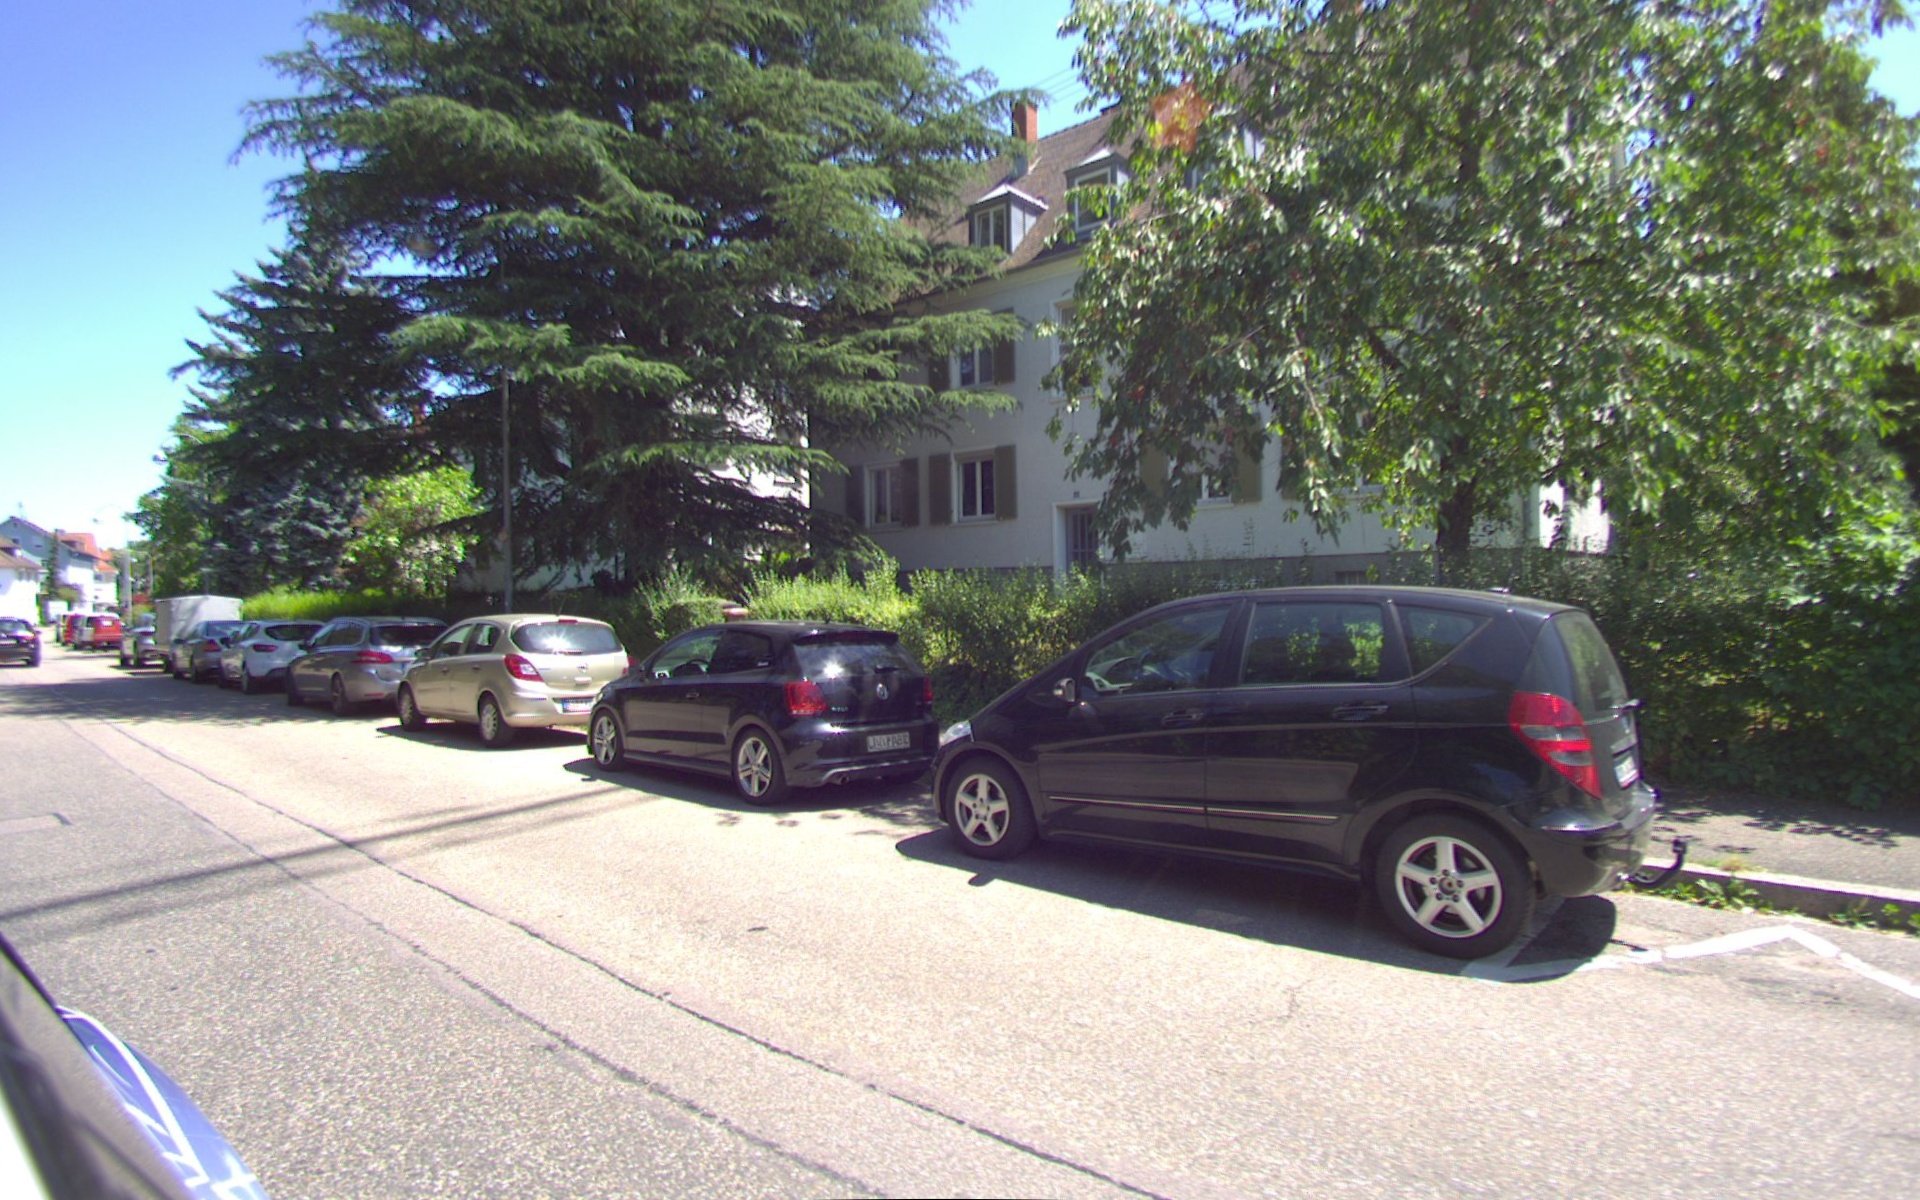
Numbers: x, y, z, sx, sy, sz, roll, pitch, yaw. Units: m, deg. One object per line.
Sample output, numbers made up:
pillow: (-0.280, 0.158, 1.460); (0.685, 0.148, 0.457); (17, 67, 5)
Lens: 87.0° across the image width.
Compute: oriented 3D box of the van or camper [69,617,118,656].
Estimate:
van or camper: (-41.515, 1.735, 48.442); (1.561, 1.784, 3.891); (0, -1, -44)

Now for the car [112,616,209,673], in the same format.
car: (-24.698, 1.345, 31.207); (4.550, 1.631, 1.748); (-2, -2, 44)

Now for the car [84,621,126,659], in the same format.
car: (-38.133, 1.766, 45.125); (1.290, 1.589, 2.323); (0, -1, -44)

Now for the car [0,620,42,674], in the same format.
car: (-30.167, 1.451, 31.557); (4.140, 1.586, 1.879); (-2, -1, 42)

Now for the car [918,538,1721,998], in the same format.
car: (1.709, 0.647, 5.533); (3.788, 1.652, 1.663); (-2, -2, 41)

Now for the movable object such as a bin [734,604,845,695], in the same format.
movable object such as a bin: (-2.374, 0.670, 14.209); (0.969, 1.209, 1.286); (-1, -1, 27)

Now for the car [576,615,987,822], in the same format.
car: (-1.718, 0.862, 8.888); (3.791, 1.412, 1.662); (-2, -2, 44)

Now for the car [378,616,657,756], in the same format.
car: (-5.538, 0.947, 12.478); (3.784, 1.453, 1.777); (-2, -2, 42)

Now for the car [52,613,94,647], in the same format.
car: (-57.441, 1.958, 65.509); (1.866, 2.131, 4.003); (2, -2, -43)

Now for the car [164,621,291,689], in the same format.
car: (-17.532, 1.247, 24.140); (1.776, 1.453, 4.479); (1, -2, -45)

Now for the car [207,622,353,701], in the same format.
car: (-14.022, 1.195, 20.778); (1.776, 1.453, 3.898); (1, -2, -45)

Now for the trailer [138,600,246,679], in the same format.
trailer: (-21.535, 1.081, 28.322); (4.001, 2.049, 1.794); (-2, -3, 44)

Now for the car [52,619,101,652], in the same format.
car: (-48.408, 1.925, 55.458); (1.866, 1.772, 3.616); (2, -2, -43)

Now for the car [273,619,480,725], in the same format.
car: (-9.394, 1.052, 16.137); (4.274, 1.453, 1.776); (-2, -2, 44)
